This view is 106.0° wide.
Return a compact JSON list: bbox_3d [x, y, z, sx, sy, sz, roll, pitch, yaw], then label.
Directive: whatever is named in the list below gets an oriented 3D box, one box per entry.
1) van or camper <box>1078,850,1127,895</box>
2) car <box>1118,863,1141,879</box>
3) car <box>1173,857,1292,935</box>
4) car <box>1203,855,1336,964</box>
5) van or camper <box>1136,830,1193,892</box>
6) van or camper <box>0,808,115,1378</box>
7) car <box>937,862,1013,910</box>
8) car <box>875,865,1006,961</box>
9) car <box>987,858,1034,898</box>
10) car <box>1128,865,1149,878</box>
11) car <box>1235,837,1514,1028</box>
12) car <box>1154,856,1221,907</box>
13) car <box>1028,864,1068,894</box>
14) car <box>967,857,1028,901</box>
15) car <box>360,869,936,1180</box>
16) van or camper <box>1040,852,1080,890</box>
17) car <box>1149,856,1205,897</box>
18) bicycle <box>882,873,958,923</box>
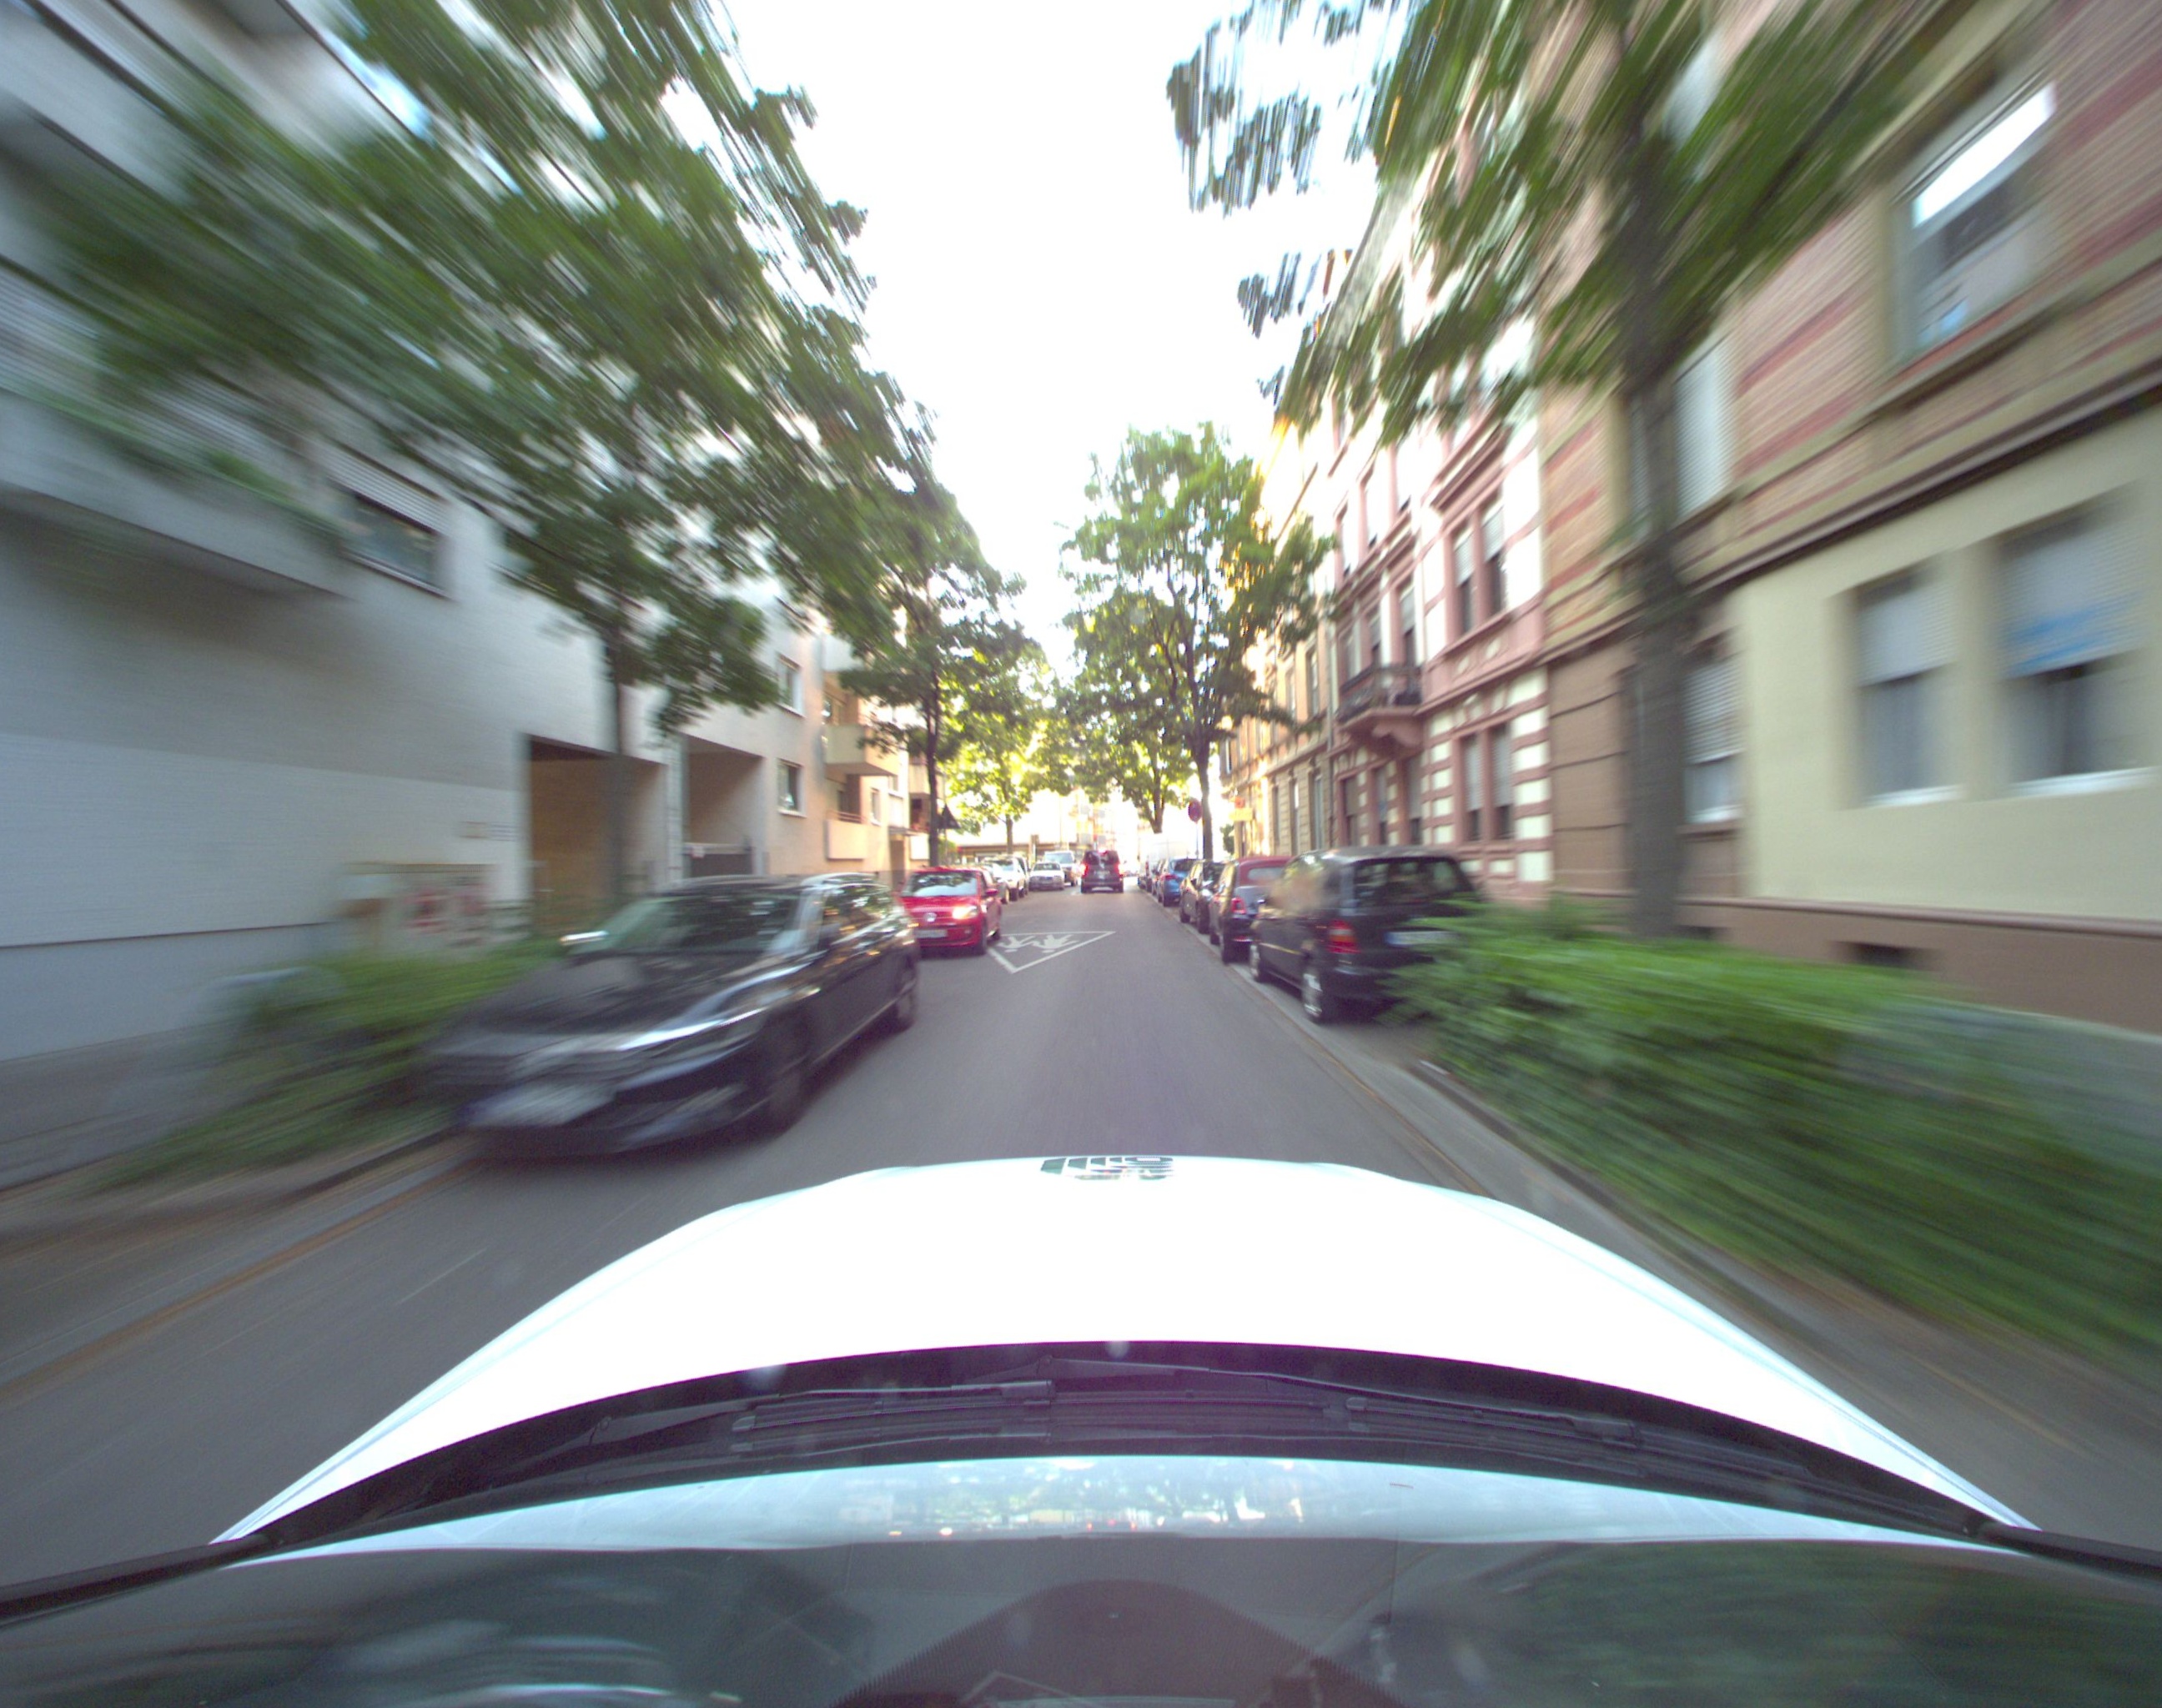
[{"bbox_3d":[1.023,0.818,36.694,2.026,1.897,4.274,-1,-1,3],"label":"van or camper"},{"bbox_3d":[5.303,1.829,88.559,1.783,1.578,3.761,-1,-1,13],"label":"car"},{"bbox_3d":[3.052,0.807,17.148,1.710,1.403,3.811,-1,-1,-1],"label":"car"},{"bbox_3d":[2.853,0.785,12.997,1.544,1.497,3.614,-1,-1,4],"label":"car"},{"bbox_3d":[3.679,0.328,36.802,1.987,2.599,5.423,-1,-1,0],"label":"van or camper"},{"bbox_3d":[-4.290,0.693,0.511,1.924,1.760,4.465,2,0,0],"label":"van or camper"},{"bbox_3d":[-3.484,1.012,27.417,1.731,1.485,3.844,0,-1,5],"label":"car"},{"bbox_3d":[-2.345,0.941,14.399,1.625,1.430,3.542,-2,-1,0],"label":"car"},{"bbox_3d":[-3.150,1.049,37.076,1.735,1.712,3.375,0,-1,1],"label":"car"},{"bbox_3d":[6.672,2.036,94.150,1.783,1.420,3.761,-1,-1,13],"label":"car"},{"bbox_3d":[2.842,0.682,8.789,1.606,1.559,3.765,-2,-1,0],"label":"car"},{"bbox_3d":[3.306,0.843,25.814,1.743,1.471,3.777,-1,-1,2],"label":"car"},{"bbox_3d":[-1.609,1.212,40.774,1.735,1.404,3.375,-2,-1,1],"label":"car"},{"bbox_3d":[-3.230,0.949,32.251,1.890,1.637,4.157,0,-1,1],"label":"car"},{"bbox_3d":[-2.507,0.869,6.198,1.839,1.451,4.504,-1,-1,2],"label":"car"},{"bbox_3d":[-1.131,0.961,45.874,1.854,1.983,4.274,-2,-1,3],"label":"van or camper"},{"bbox_3d":[3.600,0.831,31.068,1.744,1.471,3.776,-1,-1,1],"label":"car"},{"bbox_3d":[-4.093,1.093,20.786,1.839,1.195,0.597,1,0,-44],"label":"bicycle"}]
